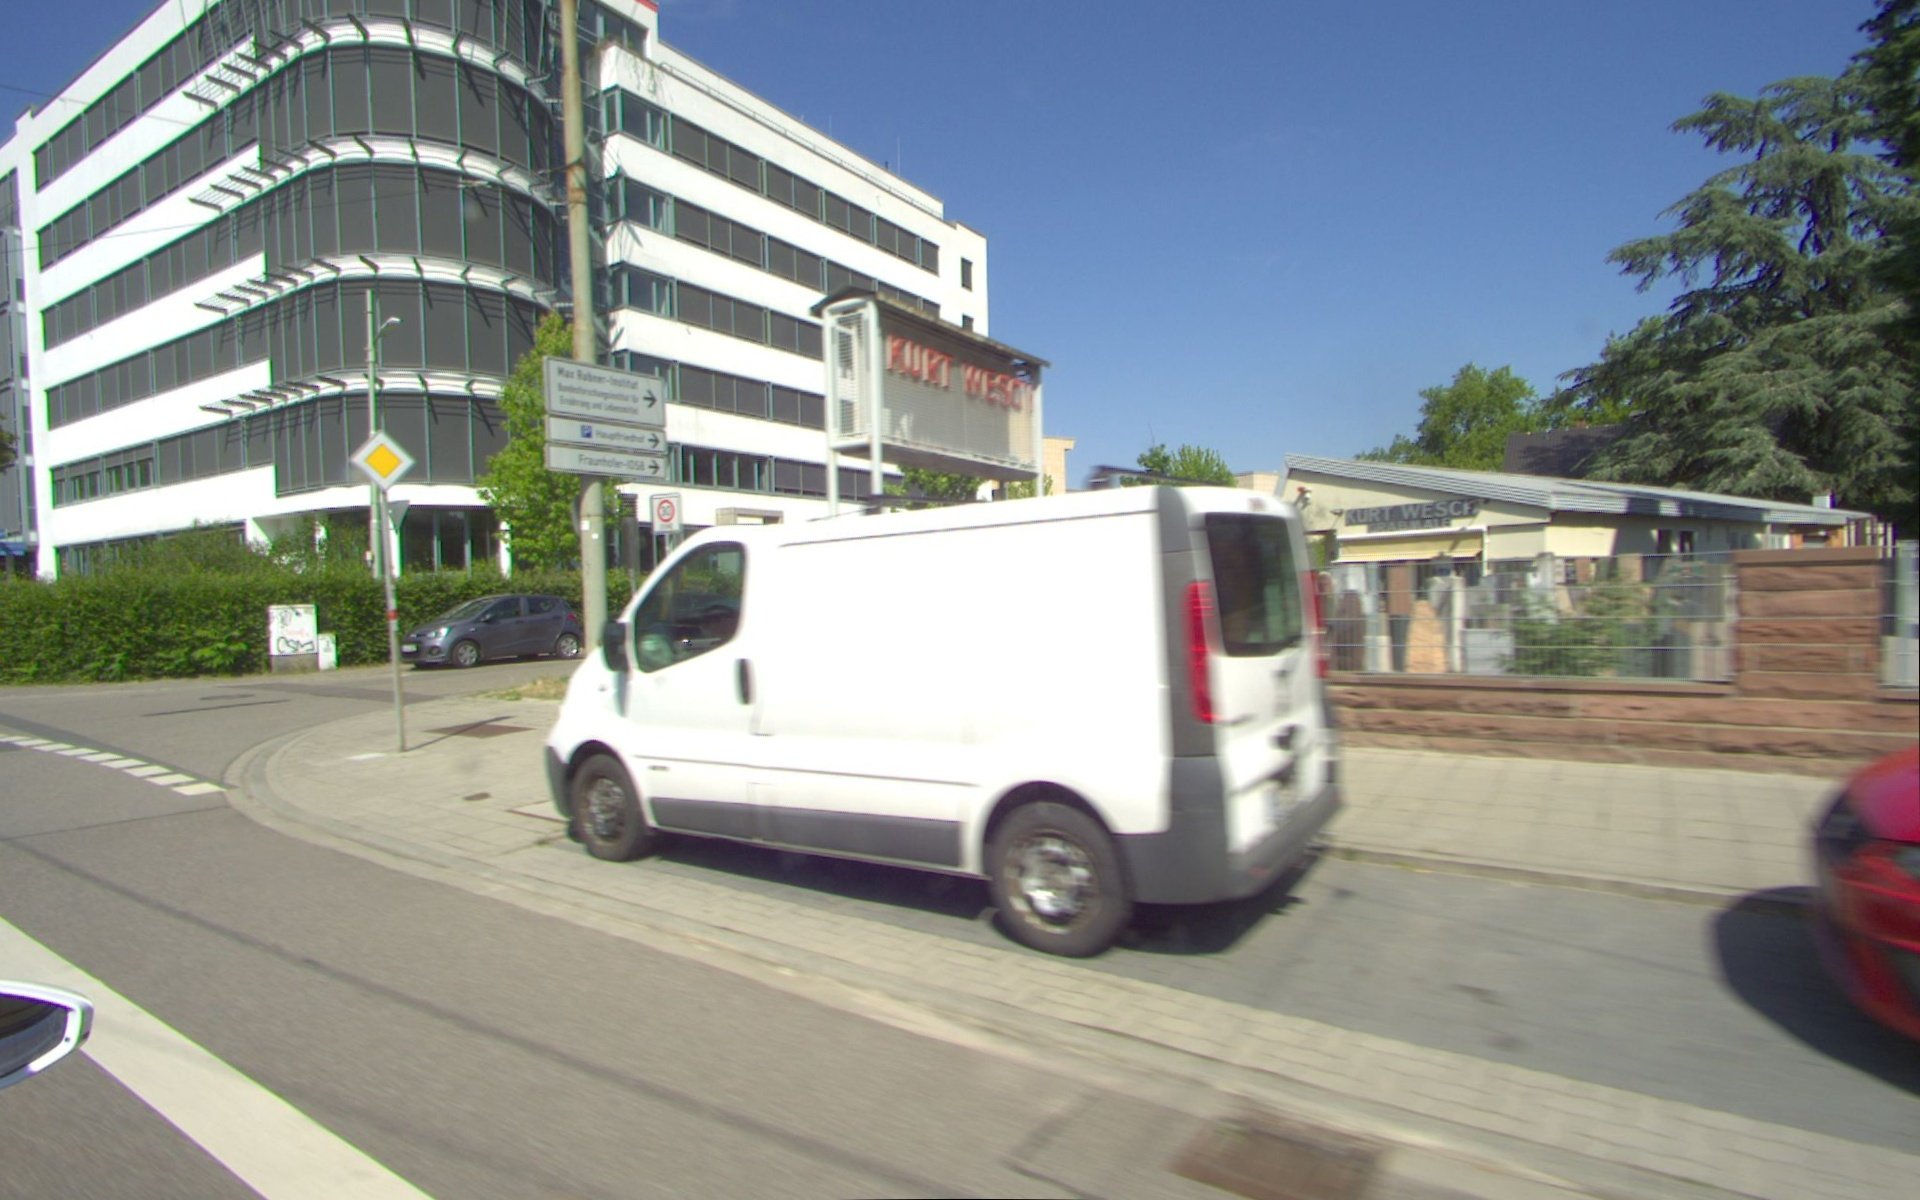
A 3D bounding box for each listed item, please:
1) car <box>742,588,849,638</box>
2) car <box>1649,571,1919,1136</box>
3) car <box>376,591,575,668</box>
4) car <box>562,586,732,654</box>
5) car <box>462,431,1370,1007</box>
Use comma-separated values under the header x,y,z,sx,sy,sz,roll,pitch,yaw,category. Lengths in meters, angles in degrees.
x,y,z,sx,sy,sz,roll,pitch,yaw,category
-4.894,0.363,30.071,1.635,1.430,2.897,0,1,34,car
4.305,0.642,2.471,4.253,1.463,1.716,-1,3,34,car
-10.406,0.574,21.722,1.570,1.493,3.583,0,1,34,car
-7.830,0.442,25.389,1.635,1.568,3.976,0,1,34,car
-0.514,0.388,5.853,5.119,2.083,1.970,0,3,34,car
